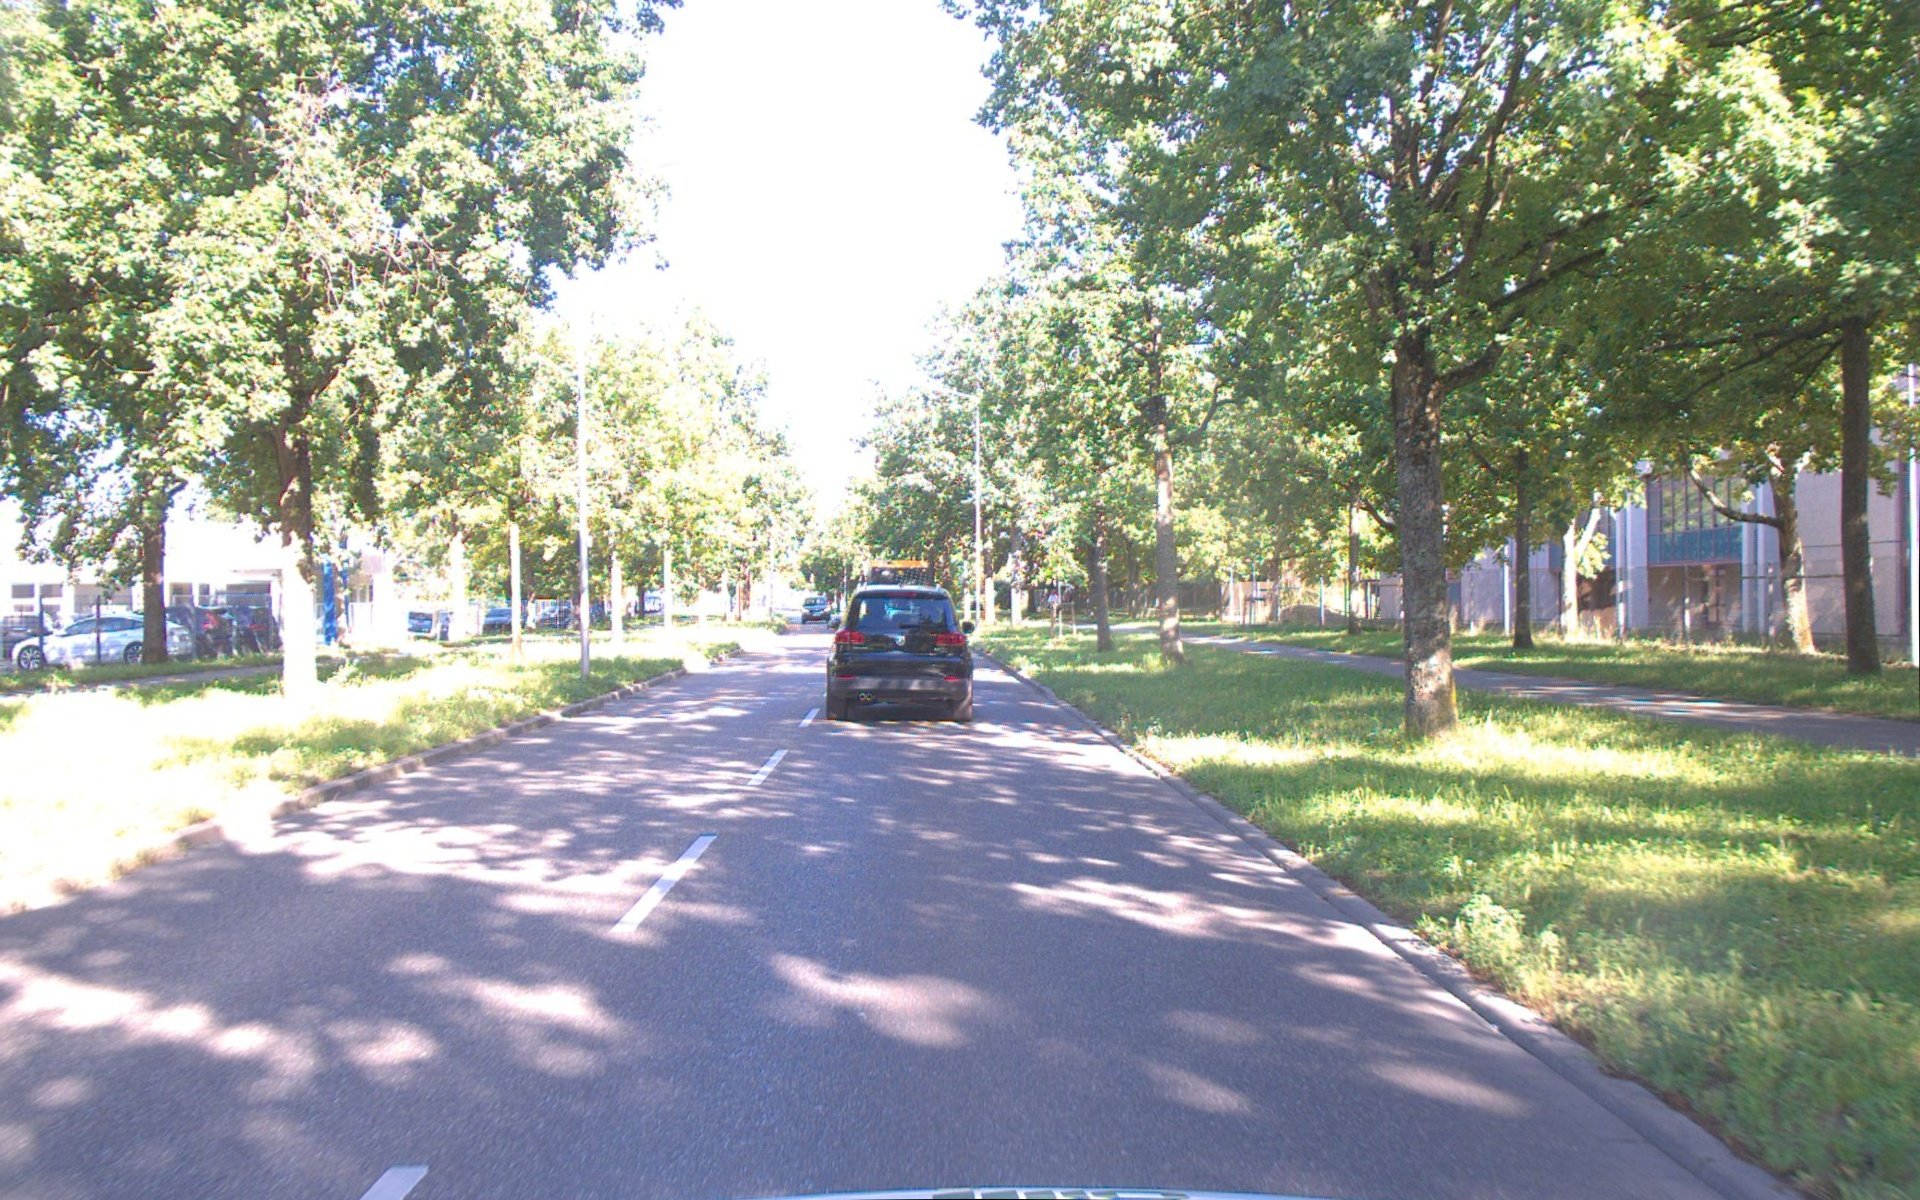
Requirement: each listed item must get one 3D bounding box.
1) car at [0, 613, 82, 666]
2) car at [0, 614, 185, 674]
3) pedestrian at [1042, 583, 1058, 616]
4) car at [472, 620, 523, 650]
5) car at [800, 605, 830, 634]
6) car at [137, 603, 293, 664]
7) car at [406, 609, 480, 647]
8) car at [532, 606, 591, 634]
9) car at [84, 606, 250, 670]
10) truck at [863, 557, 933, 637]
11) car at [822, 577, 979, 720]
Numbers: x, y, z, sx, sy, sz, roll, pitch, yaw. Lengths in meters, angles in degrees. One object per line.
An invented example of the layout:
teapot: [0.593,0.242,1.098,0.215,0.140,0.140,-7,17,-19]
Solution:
car: [-32.186,1.329,57.384,1.961,1.719,5.236,1,0,-16]
car: [-23.839,1.192,45.382,4.224,1.545,1.861,1,-1,-2]
pedestrian: [4.753,-0.025,87.271,0.598,1.659,0.716,-3,0,-15]
car: [-26.896,2.026,96.269,1.955,1.626,5.009,1,0,-6]
car: [-8.980,1.224,102.861,1.733,1.701,4.195,-2,0,-4]
car: [-23.062,1.025,51.313,3.906,1.772,2.000,1,-1,-1]
car: [-21.112,1.141,67.575,2.512,1.495,1.427,-1,0,12]
car: [-27.895,1.408,115.859,3.917,1.833,1.994,1,-1,-12]
car: [-23.149,1.094,48.404,3.906,1.776,1.861,1,-1,-2]
truck: [-2.789,-0.108,72.504,2.464,3.300,8.140,0,0,-6]
car: [-0.862,0.591,21.549,1.748,1.662,3.994,1,0,-6]
